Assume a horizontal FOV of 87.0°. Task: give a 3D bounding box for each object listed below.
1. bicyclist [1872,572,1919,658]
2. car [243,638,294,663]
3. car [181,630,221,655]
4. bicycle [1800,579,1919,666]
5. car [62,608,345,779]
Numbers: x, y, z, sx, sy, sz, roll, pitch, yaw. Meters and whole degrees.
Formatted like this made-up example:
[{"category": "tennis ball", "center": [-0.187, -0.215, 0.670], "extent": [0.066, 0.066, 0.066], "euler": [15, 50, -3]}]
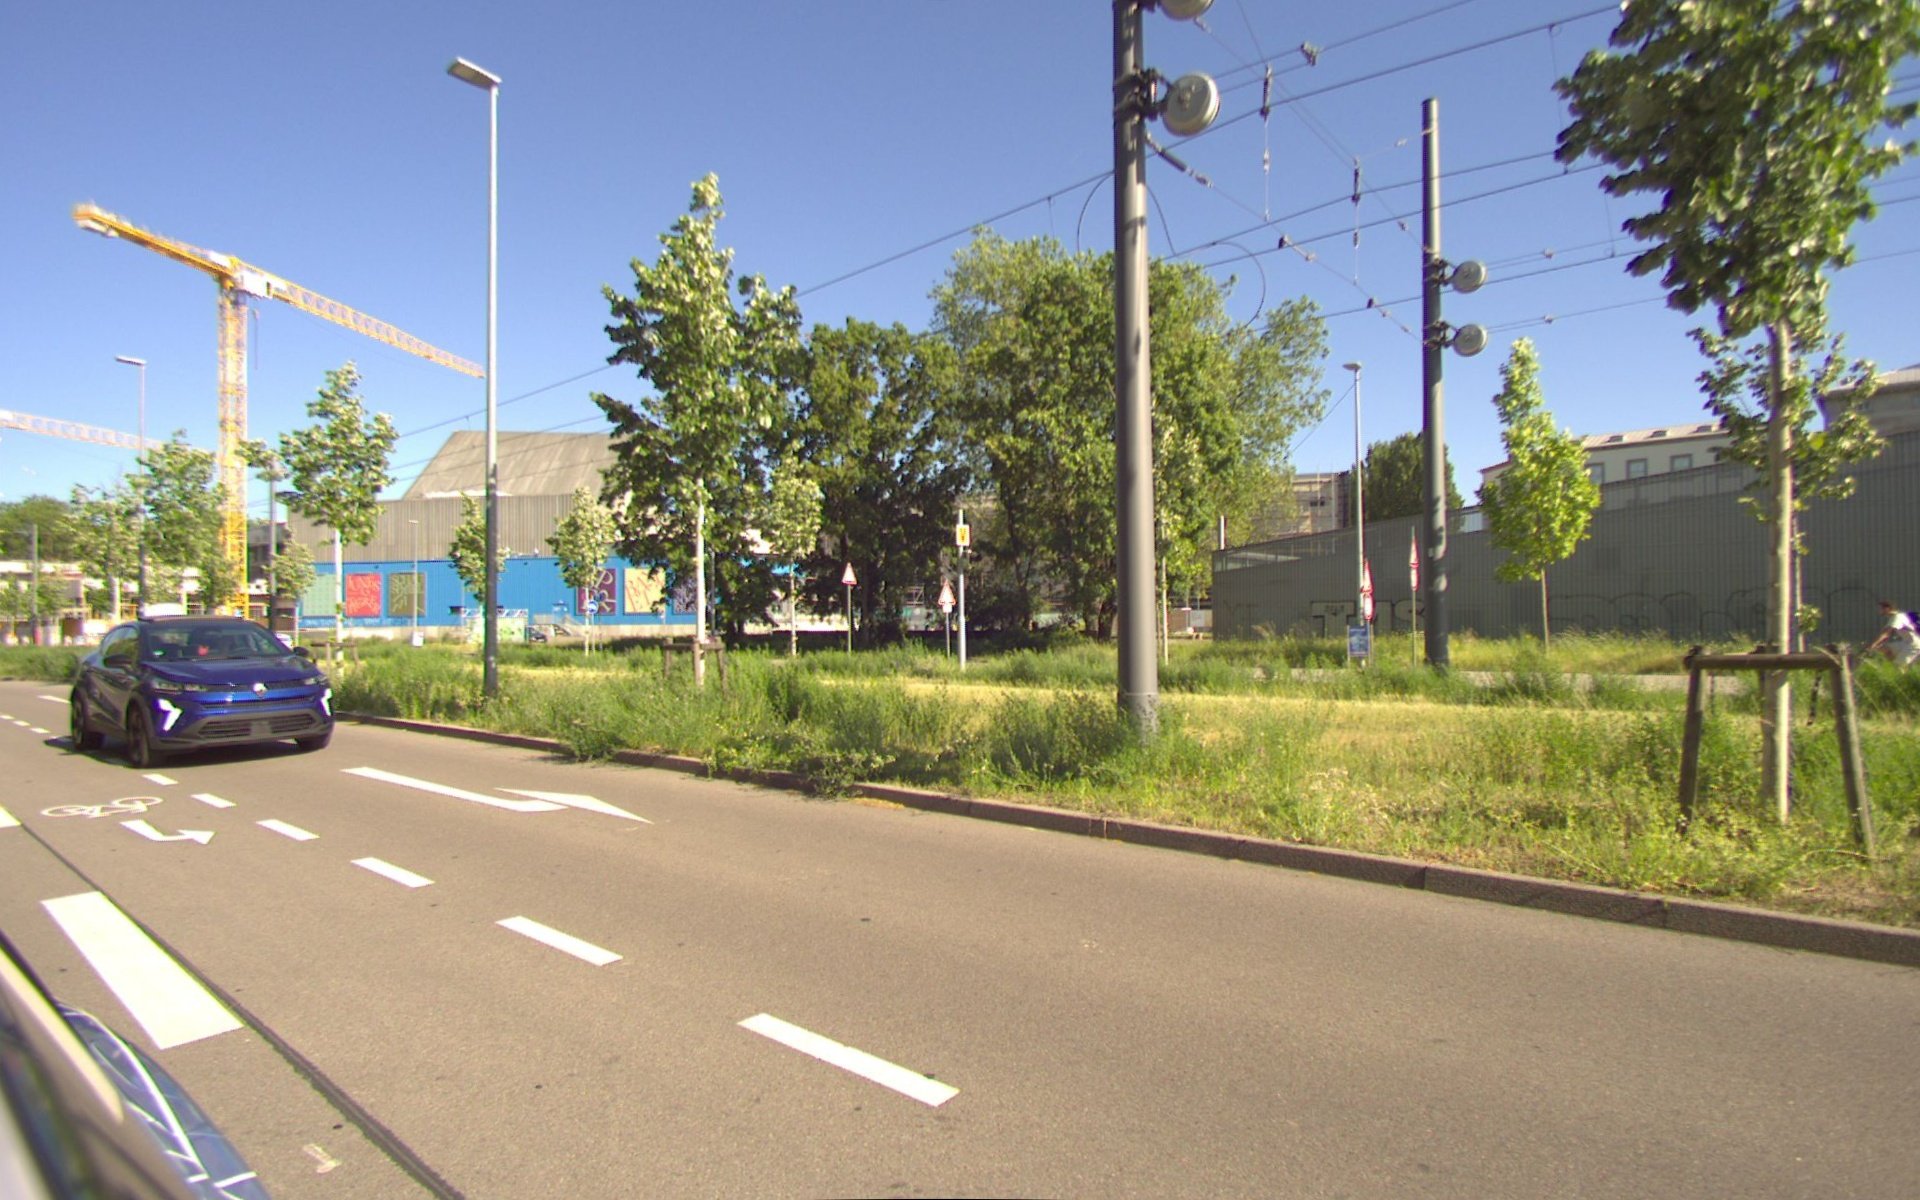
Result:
[{"category": "bicyclist", "center": [16.119, 0.258, 17.448], "extent": [0.539, 1.465, 0.390], "euler": [-2, 0, 40]}, {"category": "car", "center": [-42.301, 3.086, 61.884], "extent": [3.829, 1.409, 1.616], "euler": [-2, -2, 40]}, {"category": "car", "center": [-62.053, 3.445, 82.719], "extent": [3.998, 1.811, 1.779], "euler": [-1, 1, 41]}, {"category": "bicycle", "center": [15.926, 0.405, 17.652], "extent": [1.913, 1.466, 0.356], "euler": [-3, -2, 41]}, {"category": "car", "center": [-8.979, 0.980, 11.891], "extent": [4.149, 1.635, 1.727], "euler": [-2, -1, 40]}]
